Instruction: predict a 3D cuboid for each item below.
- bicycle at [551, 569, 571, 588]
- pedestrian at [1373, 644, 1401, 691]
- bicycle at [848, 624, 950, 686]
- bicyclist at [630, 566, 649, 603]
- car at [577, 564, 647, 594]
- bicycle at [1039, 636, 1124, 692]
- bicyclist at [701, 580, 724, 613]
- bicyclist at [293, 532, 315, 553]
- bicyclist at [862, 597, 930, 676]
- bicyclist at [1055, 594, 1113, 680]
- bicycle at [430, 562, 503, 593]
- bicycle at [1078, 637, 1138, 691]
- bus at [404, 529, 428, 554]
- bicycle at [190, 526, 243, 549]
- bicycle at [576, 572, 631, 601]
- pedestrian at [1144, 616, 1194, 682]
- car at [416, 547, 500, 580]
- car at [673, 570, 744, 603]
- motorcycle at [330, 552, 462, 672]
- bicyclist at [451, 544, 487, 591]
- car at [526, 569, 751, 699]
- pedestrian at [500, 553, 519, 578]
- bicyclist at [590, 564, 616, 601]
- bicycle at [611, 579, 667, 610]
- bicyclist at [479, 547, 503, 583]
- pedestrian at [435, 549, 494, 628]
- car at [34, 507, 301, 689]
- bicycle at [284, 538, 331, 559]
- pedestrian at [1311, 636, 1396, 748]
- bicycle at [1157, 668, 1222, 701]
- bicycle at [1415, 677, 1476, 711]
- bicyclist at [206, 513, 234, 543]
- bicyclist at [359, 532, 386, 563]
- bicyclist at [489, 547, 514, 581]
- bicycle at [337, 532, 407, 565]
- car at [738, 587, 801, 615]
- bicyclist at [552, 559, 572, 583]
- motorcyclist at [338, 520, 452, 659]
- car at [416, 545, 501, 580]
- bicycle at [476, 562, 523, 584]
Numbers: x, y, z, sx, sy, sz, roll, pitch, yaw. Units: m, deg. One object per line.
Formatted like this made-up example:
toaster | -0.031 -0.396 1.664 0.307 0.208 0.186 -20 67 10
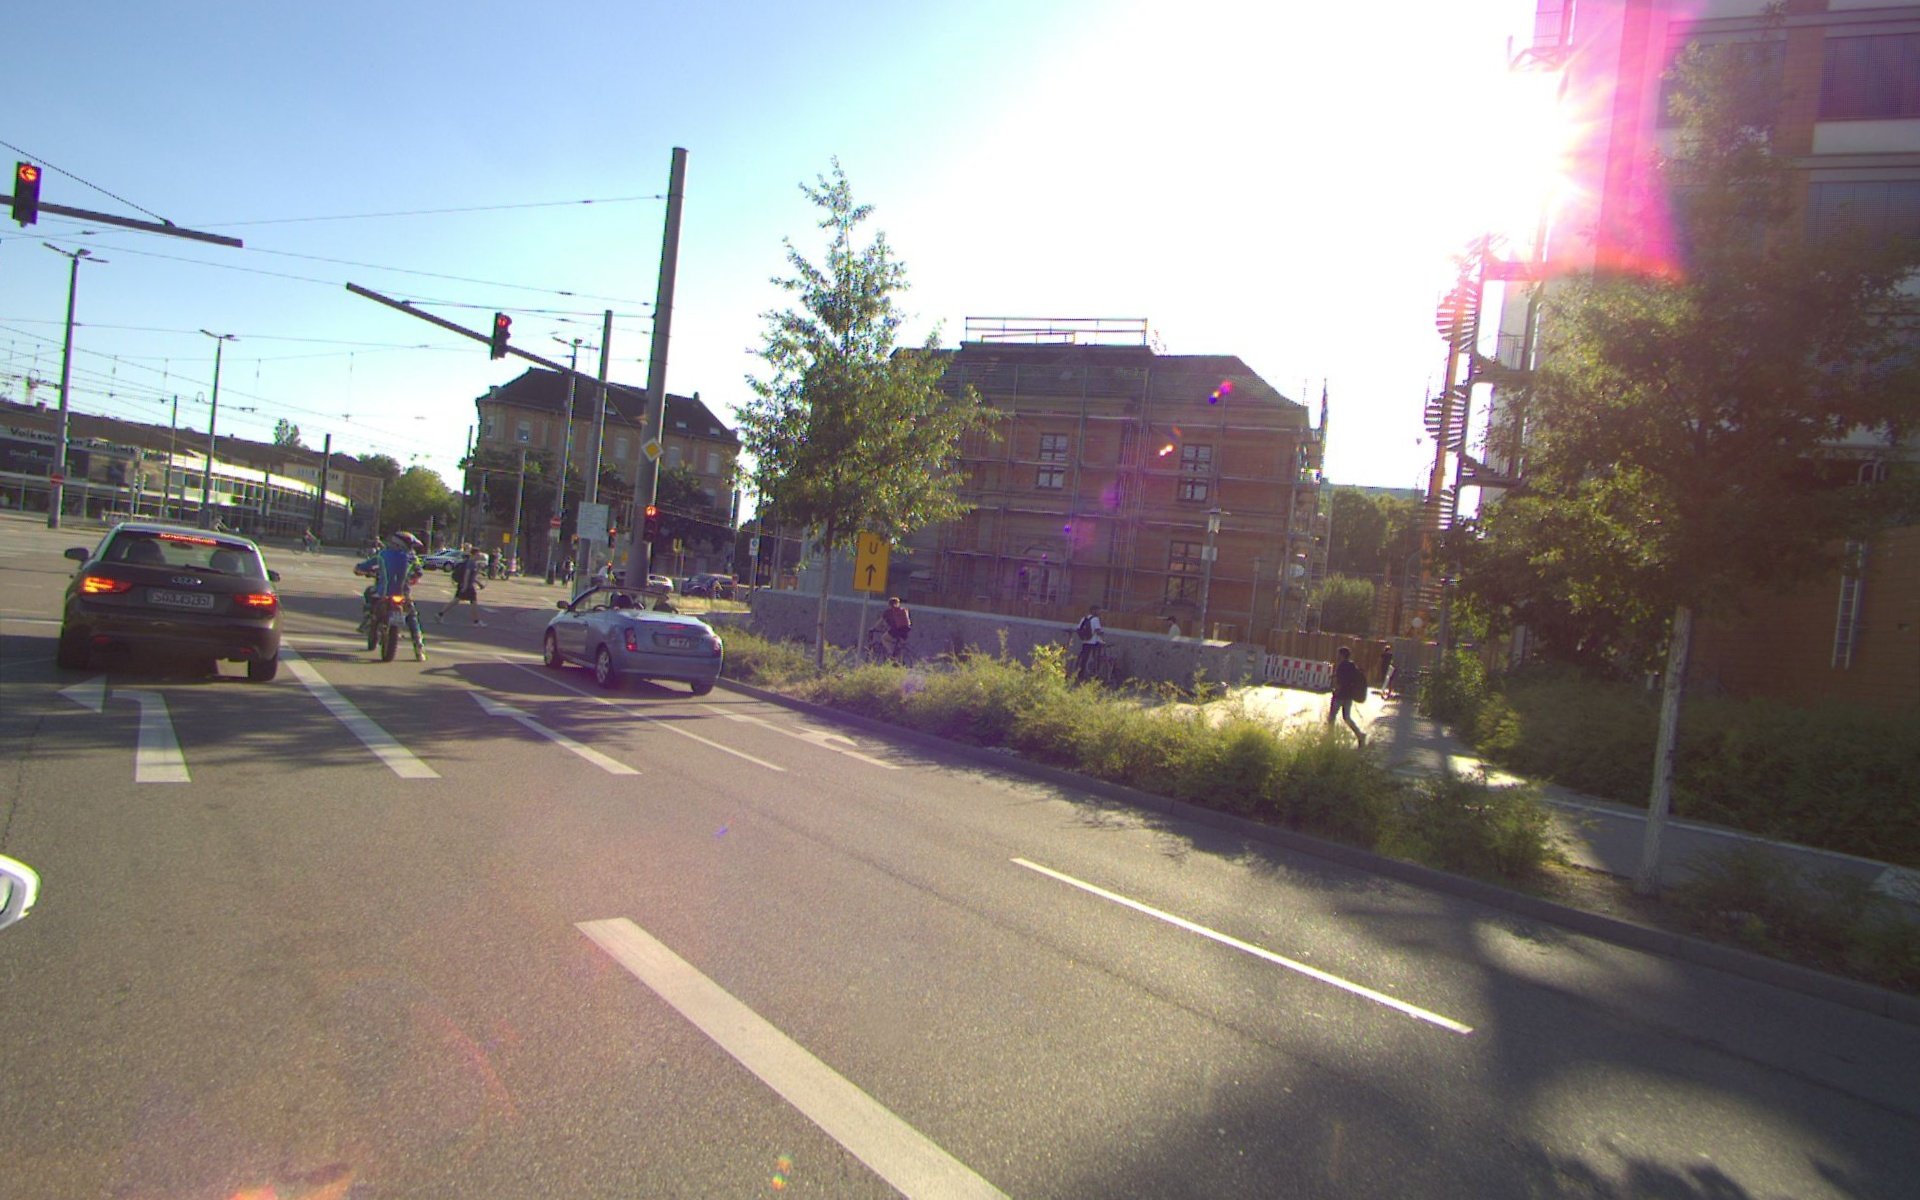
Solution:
bicycle | -22.898 -1.257 57.806 0.848 0.917 2.293 8 0 -19
pedestrian | 19.729 3.110 46.465 0.978 2.039 1.298 6 0 24
bicycle | -1.201 1.050 19.412 0.716 0.963 2.226 7 -2 -39
bicyclist | -15.687 -0.768 49.172 0.642 1.712 0.856 7 1 -21
car | -23.444 -1.378 67.822 1.921 1.504 4.095 6 -1 31
bicycle | 2.695 1.406 22.501 0.783 1.052 1.947 4 0 -31
bicyclist | -13.778 -0.176 55.931 0.844 1.712 0.651 8 1 14
bicyclist | -39.993 -3.505 61.324 0.822 1.157 0.714 8 1 22
bicyclist | -1.247 0.697 19.513 0.716 1.400 1.064 7 -2 -39
bicyclist | 2.762 0.819 22.442 0.780 1.809 0.887 4 1 -31
bicycle | -19.604 -0.882 40.029 0.845 0.885 2.497 9 0 29
bicycle | 3.390 1.453 23.213 0.618 1.052 1.958 4 0 -14
bus | -73.487 -7.944 136.011 2.335 2.919 9.507 8 1 -28
bicycle | -43.734 -3.651 59.217 0.845 0.991 2.300 9 0 30
bicycle | -17.868 -0.679 50.433 0.846 1.147 2.496 9 0 33
pedestrian | 5.853 1.378 28.149 0.922 1.745 0.985 6 1 31
car | -30.197 -2.186 60.627 1.918 1.470 4.105 6 -1 24
car | -18.790 -1.013 75.320 1.925 1.916 4.831 6 0 39
motorcycle | -7.847 0.123 13.917 1.091 1.394 2.626 7 -1 -38
bicyclist | -19.547 -1.280 40.038 0.845 1.712 0.746 9 1 30
car | -5.017 0.461 15.383 1.794 1.461 3.934 8 -2 -40
pedestrian | -32.419 -2.498 72.444 0.920 1.697 0.774 6 1 -40
bicyclist | -17.873 -0.853 50.379 0.846 1.712 0.650 9 1 33
bicycle | -15.703 -0.290 49.201 2.467 1.147 0.856 8 1 -21
bicyclist | -25.373 -1.890 54.385 0.851 1.800 0.584 6 1 20
pedestrian | -11.246 -0.241 22.852 0.685 1.692 0.829 6 1 12
car | -8.405 -0.091 10.751 1.793 1.461 3.935 8 -2 -39
bicycle | -39.925 -3.167 61.599 0.844 0.971 2.303 8 0 22
pedestrian | 6.505 1.511 16.634 0.798 1.678 0.786 8 -1 -23
bicycle | 5.210 1.912 22.891 1.337 0.547 0.428 7 2 37
bicycle | 15.605 3.024 32.365 1.623 0.868 0.529 6 0 20
bicyclist | -43.610 -4.252 59.274 0.845 1.579 0.925 9 1 28
bicyclist | -40.767 -3.652 69.826 1.104 1.924 1.071 9 1 33
bicyclist | -25.073 -1.957 54.990 0.844 1.712 0.651 8 1 22
bicycle | -40.756 -3.522 69.833 1.120 1.711 3.991 9 0 32
car | -15.648 0.095 82.698 1.925 1.821 4.830 6 -1 39
bicyclist | -22.767 -1.664 57.560 0.848 1.191 0.711 8 1 -20
motorcyclist | -7.823 -0.143 13.928 1.091 1.742 0.927 7 -1 -38
car | -31.778 -2.365 63.753 4.570 1.613 1.937 7 0 -33
bicycle | -25.142 -1.448 55.007 0.844 0.917 2.303 8 0 22
